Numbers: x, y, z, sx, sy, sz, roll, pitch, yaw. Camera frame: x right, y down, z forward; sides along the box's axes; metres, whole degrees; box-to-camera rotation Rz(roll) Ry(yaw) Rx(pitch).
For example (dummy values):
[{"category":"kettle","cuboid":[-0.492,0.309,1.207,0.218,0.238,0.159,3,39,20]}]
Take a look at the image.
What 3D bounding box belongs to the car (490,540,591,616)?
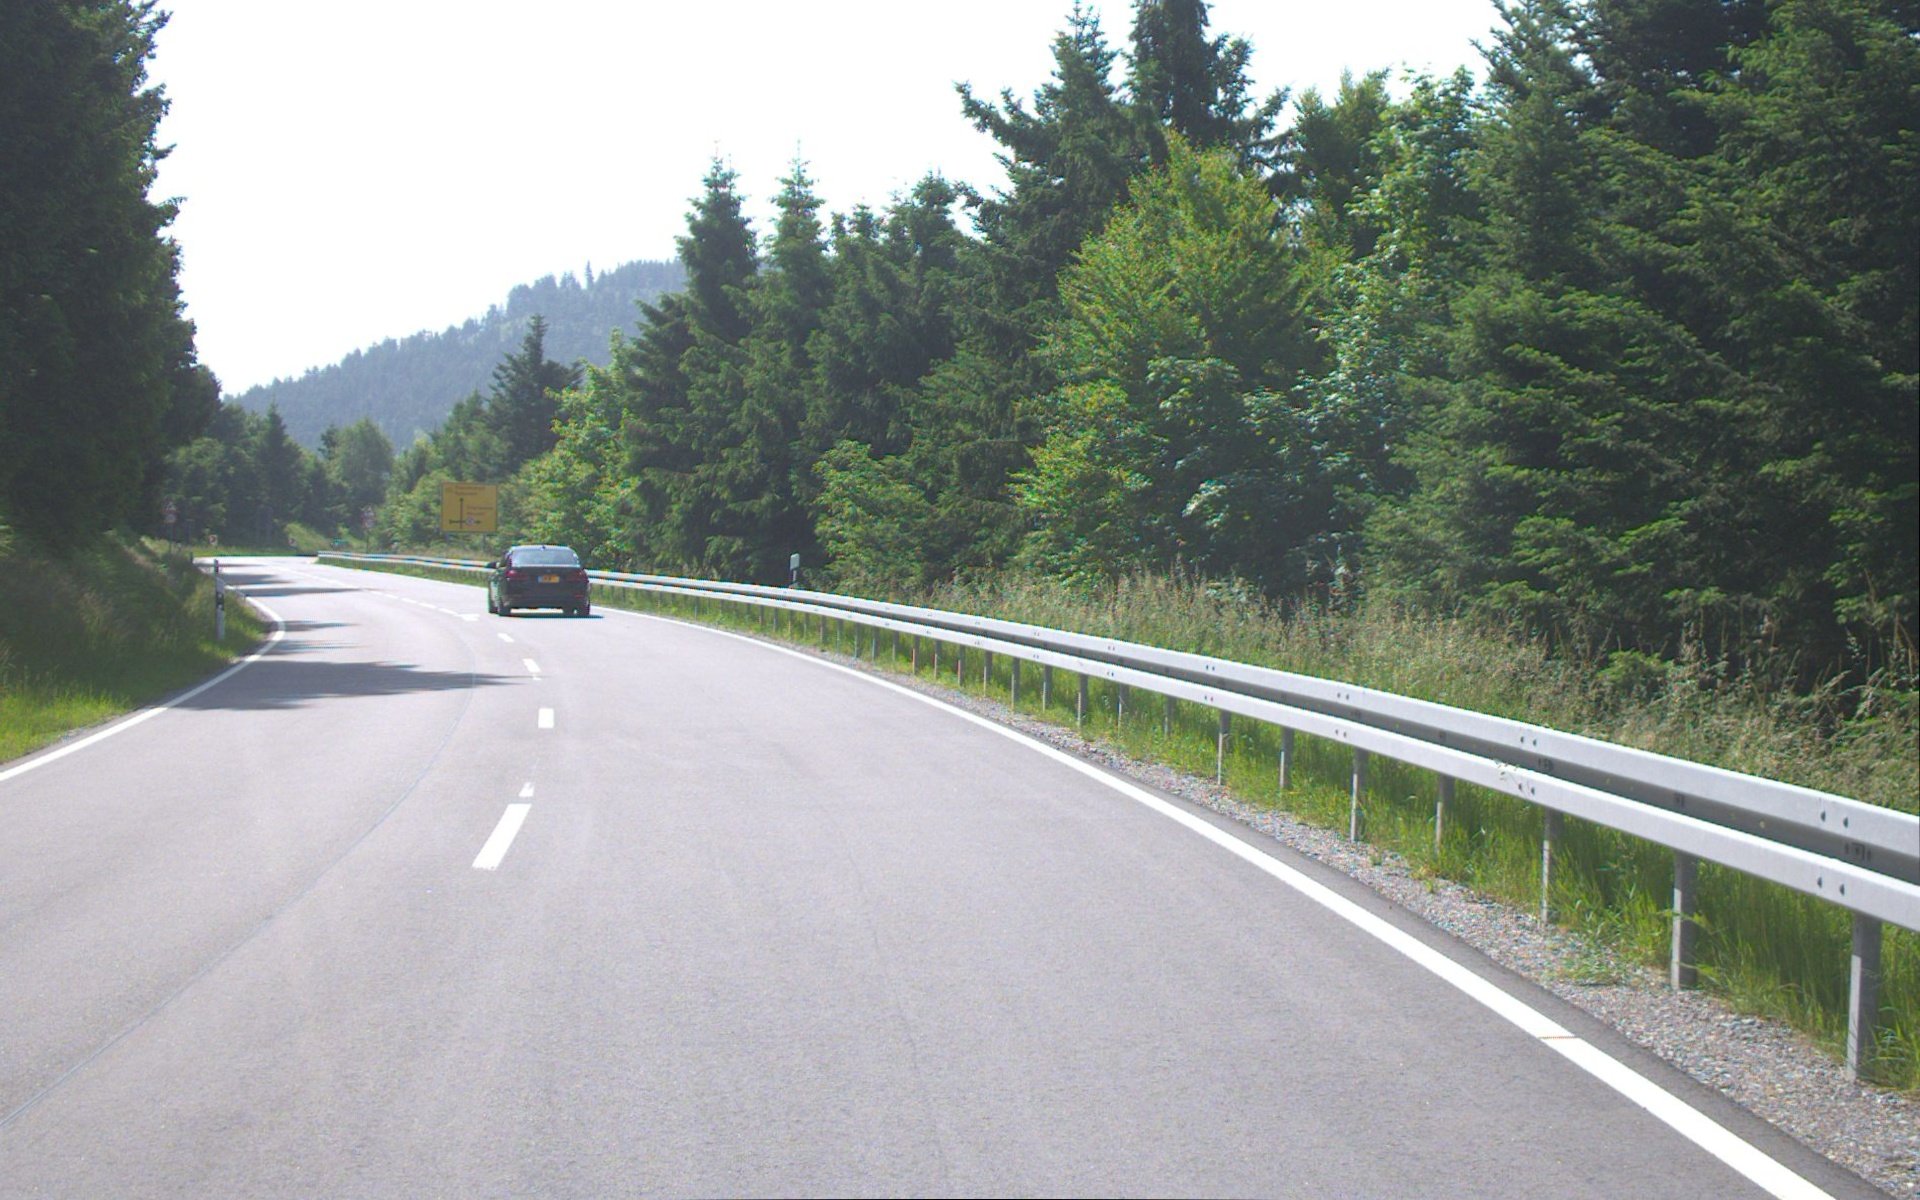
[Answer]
[{"category":"car","cuboid":[-8.442,-0.455,68.995,1.775,1.437,3.710,-1,1,-10]}]
